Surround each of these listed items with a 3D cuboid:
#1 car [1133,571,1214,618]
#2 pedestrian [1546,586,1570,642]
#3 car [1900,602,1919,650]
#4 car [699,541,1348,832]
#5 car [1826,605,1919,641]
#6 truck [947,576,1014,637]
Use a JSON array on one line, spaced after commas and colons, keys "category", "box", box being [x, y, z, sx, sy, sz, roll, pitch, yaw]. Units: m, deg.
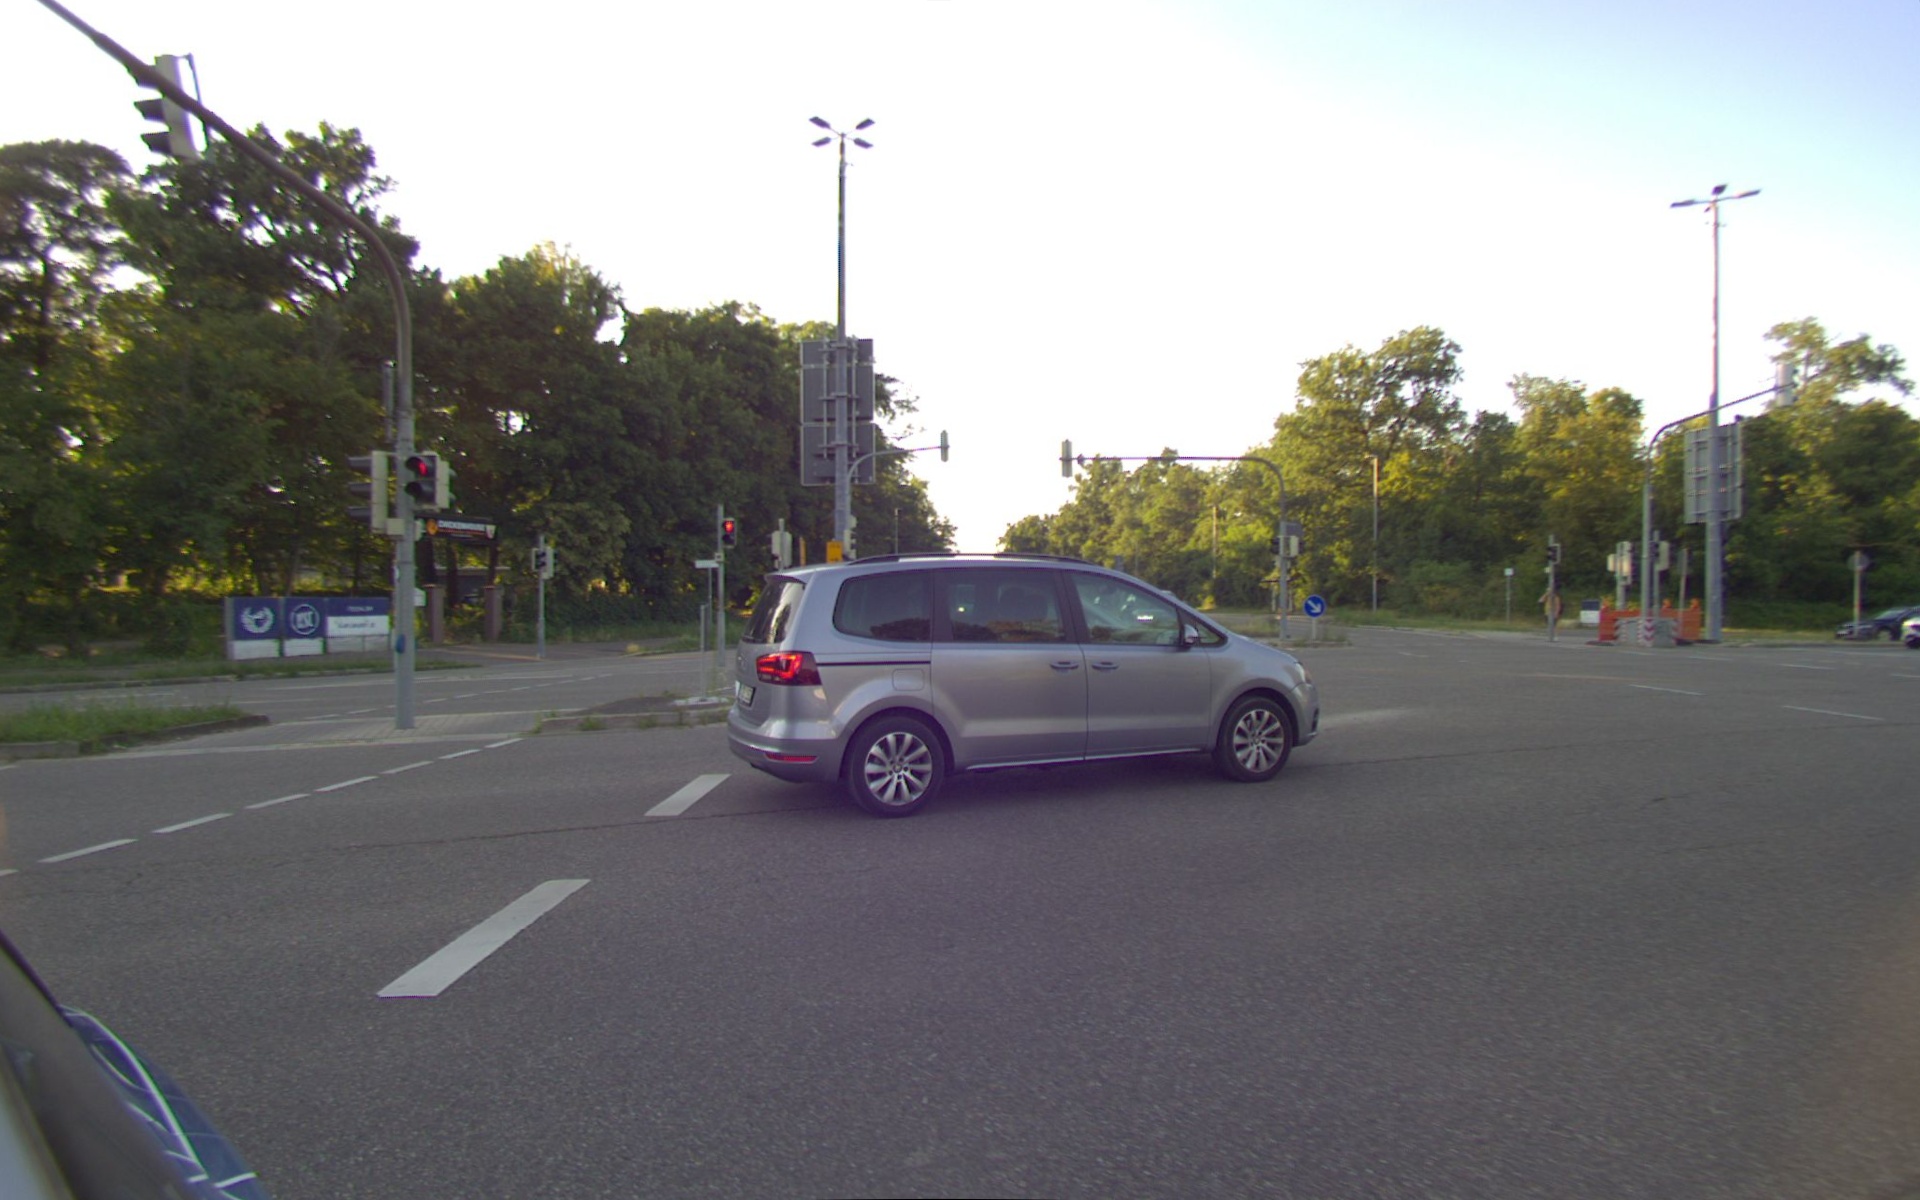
[{"category": "car", "box": [7.337, -0.174, 35.231, 1.975, 1.531, 3.999, 0, 0, 0]}, {"category": "pedestrian", "box": [19.619, 0.449, 33.224, 0.574, 1.814, 0.740, -1, 0, 37]}, {"category": "car", "box": [31.499, 0.782, 31.213, 4.161, 1.467, 1.727, 0, 0, -15]}, {"category": "car", "box": [0.481, 0.498, 7.764, 4.579, 1.737, 1.878, -1, 0, -22]}, {"category": "car", "box": [34.559, 0.839, 37.356, 3.603, 1.253, 1.604, 0, 0, 7]}, {"category": "truck", "box": [1.016, 0.249, 45.762, 2.573, 2.576, 6.012, 0, 0, 6]}]
